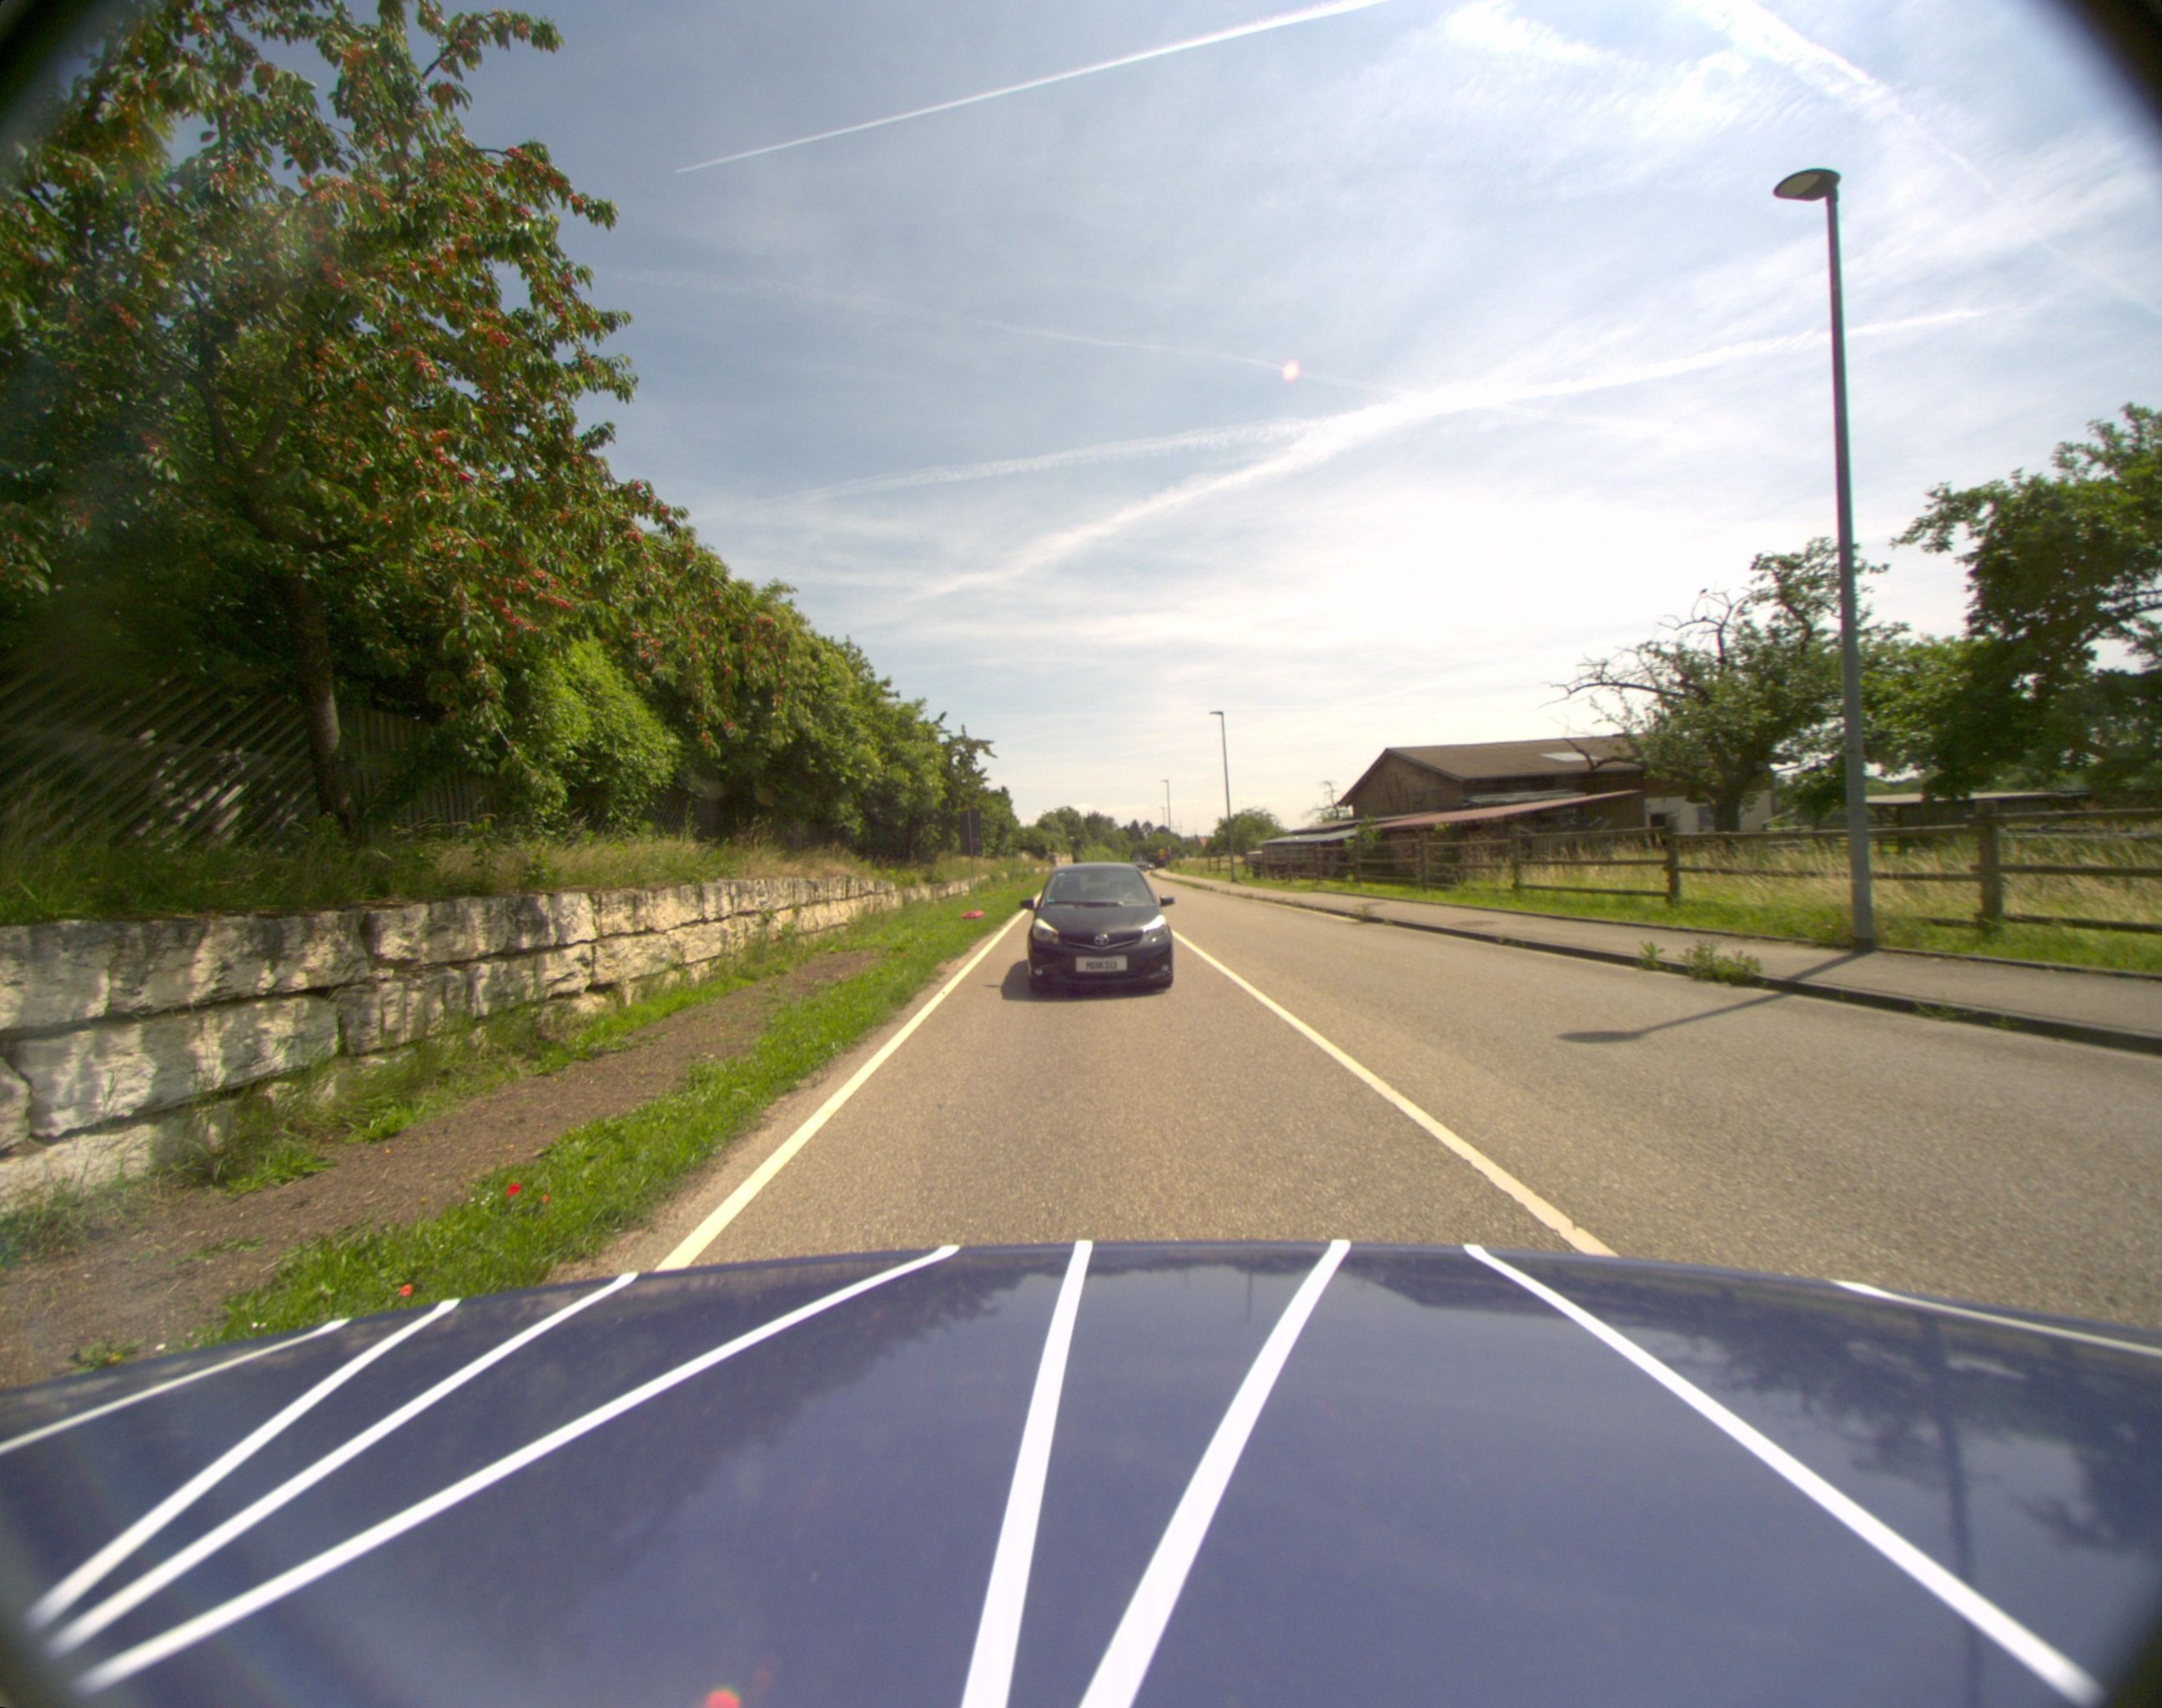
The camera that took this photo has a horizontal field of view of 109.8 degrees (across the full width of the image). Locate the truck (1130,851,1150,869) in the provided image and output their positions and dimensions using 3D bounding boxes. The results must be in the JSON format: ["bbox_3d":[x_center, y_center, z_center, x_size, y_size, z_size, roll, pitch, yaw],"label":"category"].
[{"bbox_3d":[7.663,0.734,98.023,2.227,2.280,6.494,-2,0,6],"label":"truck"}]

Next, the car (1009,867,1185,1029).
[{"bbox_3d":[0.183,0.952,9.629,1.677,1.456,4.432,-1,0,1],"label":"car"}]

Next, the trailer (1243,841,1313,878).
[{"bbox_3d":[9.778,0.262,38.190,2.160,1.693,5.029,-2,0,0],"label":"trailer"}]
